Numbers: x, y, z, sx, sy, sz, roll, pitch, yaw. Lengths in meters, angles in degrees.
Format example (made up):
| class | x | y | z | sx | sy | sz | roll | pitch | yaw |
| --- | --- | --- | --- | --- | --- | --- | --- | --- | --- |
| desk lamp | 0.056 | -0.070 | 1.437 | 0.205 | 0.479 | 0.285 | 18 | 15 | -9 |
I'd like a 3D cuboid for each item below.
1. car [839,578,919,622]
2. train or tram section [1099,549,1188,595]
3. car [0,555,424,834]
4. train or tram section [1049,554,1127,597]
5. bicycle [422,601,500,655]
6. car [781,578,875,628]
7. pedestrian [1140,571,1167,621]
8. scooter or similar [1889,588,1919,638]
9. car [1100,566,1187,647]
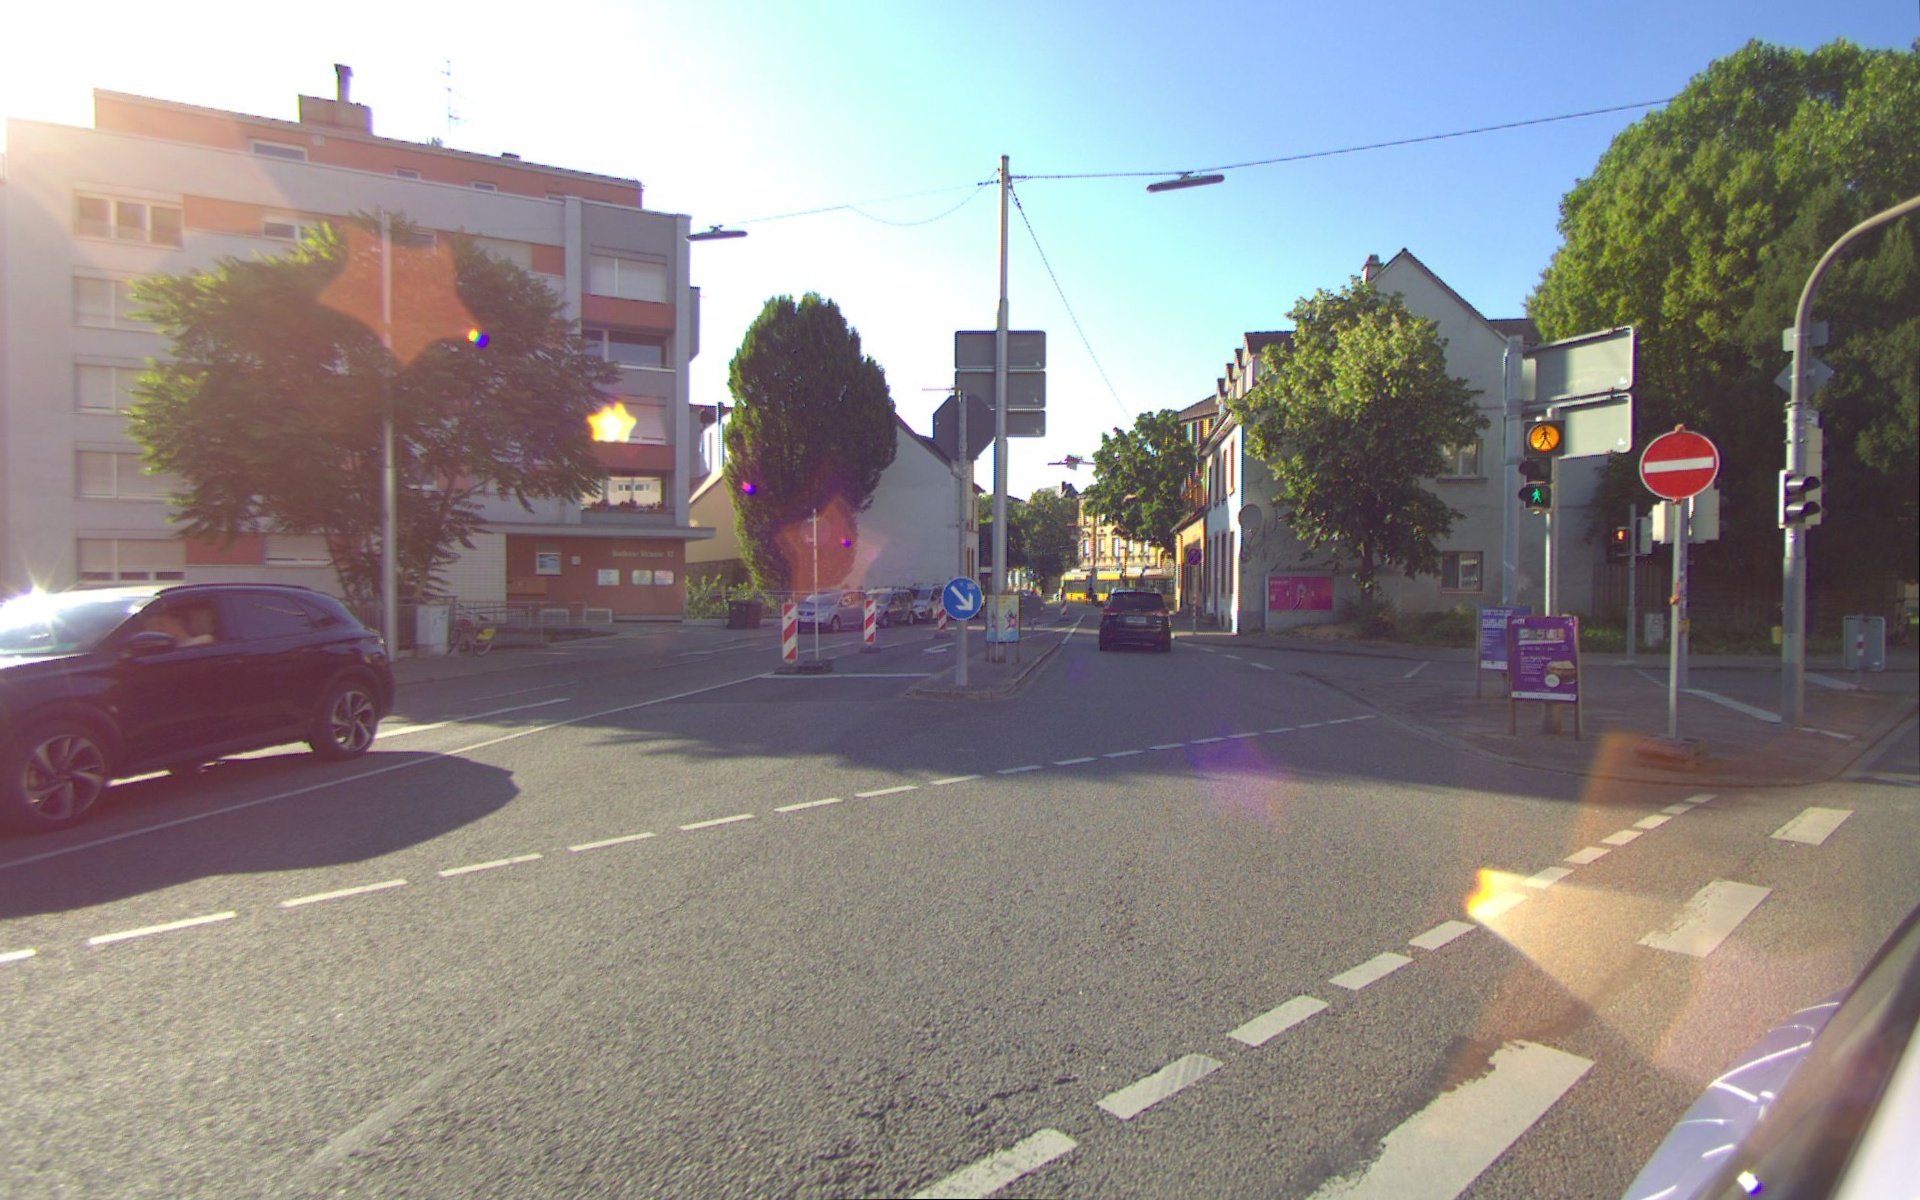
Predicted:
| class | x | y | z | sx | sy | sz | roll | pitch | yaw |
| --- | --- | --- | --- | --- | --- | --- | --- | --- | --- |
| car | -3.429 | 0.017 | 43.656 | 1.974 | 1.803 | 4.203 | 0 | 0 | 18 |
| train or tram section | 15.136 | -2.229 | 84.512 | 2.739 | 3.564 | 9.285 | 0 | 0 | -22 |
| car | -6.639 | 0.593 | 7.991 | 1.965 | 1.691 | 4.657 | -3 | 1 | 6 |
| train or tram section | 11.635 | -2.177 | 93.251 | 2.789 | 3.647 | 9.884 | 0 | 0 | -21 |
| bicycle | -11.462 | 0.612 | 23.324 | 0.698 | 1.193 | 2.334 | 0 | 0 | -1 |
| car | -4.981 | 0.128 | 38.797 | 1.974 | 1.803 | 4.203 | 0 | 0 | 18 |
| pedestrian | 7.318 | -0.135 | 38.242 | 0.943 | 1.861 | 1.284 | 0 | 0 | 14 |
| scooter or similar | 24.073 | 0.323 | 25.669 | 1.235 | 1.216 | 0.439 | 0 | 3 | -36 |
| car | 4.711 | 0.135 | 26.433 | 1.967 | 1.838 | 4.241 | 3 | 1 | 8 |
